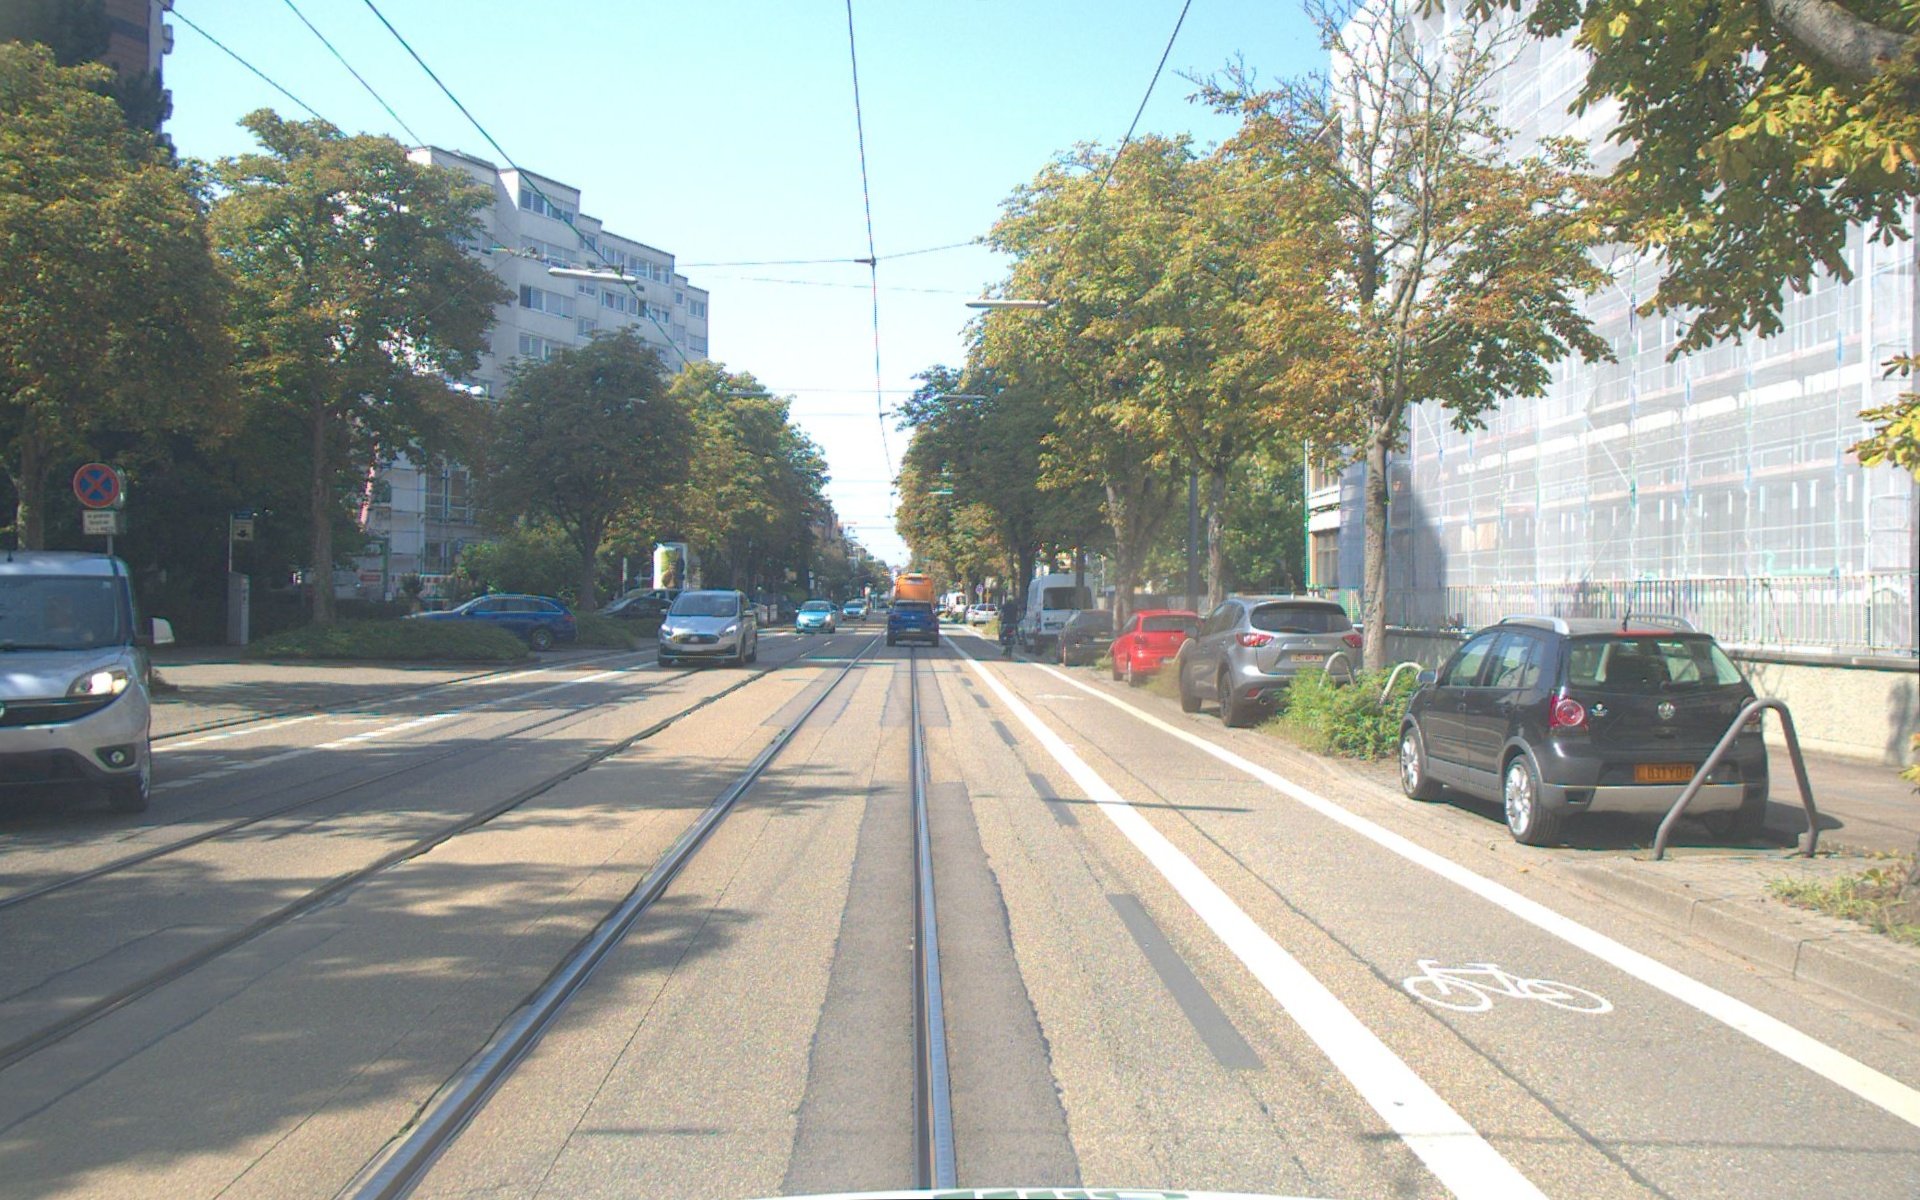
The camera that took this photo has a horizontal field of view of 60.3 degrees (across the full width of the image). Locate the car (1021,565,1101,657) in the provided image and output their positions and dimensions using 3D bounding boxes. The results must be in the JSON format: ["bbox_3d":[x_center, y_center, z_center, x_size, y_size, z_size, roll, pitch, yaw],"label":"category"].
[{"bbox_3d":[3.221,0.342,53.870,1.954,2.804,5.758,1,0,-3],"label":"car"}]

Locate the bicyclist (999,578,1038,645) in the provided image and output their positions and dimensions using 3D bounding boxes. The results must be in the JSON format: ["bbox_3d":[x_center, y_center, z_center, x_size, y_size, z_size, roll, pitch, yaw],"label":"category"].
[{"bbox_3d":[1.631,0.317,46.492,1.011,1.844,1.016,1,0,-2],"label":"bicyclist"}]

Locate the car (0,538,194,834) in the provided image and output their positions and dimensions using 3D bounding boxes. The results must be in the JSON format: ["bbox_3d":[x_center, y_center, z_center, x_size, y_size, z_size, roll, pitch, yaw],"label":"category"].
[{"bbox_3d":[-6.668,0.519,12.072,1.723,1.828,3.973,1,0,-22],"label":"car"}]

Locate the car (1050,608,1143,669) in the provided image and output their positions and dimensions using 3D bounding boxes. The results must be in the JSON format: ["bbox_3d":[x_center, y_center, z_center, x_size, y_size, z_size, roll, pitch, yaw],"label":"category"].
[{"bbox_3d":[3.516,0.961,43.282,1.870,1.456,4.290,1,0,-3],"label":"car"}]

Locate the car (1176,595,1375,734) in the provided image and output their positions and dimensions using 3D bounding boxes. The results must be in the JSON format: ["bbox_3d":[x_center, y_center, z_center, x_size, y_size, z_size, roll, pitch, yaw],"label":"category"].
[{"bbox_3d":[4.223,0.804,22.781,1.705,1.697,4.359,1,0,-3],"label":"car"}]

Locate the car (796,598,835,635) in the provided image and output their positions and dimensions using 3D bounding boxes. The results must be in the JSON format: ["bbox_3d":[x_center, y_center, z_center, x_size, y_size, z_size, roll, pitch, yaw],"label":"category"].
[{"bbox_3d":[-6.663,0.744,76.471,1.601,1.612,4.186,1,0,-3],"label":"car"}]

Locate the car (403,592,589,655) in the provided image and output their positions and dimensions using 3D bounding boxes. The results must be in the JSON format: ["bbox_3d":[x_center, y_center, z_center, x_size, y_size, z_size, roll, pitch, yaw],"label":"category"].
[{"bbox_3d":[-12.391,0.629,44.160,4.512,1.580,1.984,1,0,-26],"label":"car"}]

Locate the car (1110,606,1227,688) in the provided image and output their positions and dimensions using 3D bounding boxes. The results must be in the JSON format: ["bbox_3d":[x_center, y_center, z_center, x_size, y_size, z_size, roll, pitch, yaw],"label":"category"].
[{"bbox_3d":[4.115,0.900,33.161,1.705,1.488,3.682,1,0,-3],"label":"car"}]

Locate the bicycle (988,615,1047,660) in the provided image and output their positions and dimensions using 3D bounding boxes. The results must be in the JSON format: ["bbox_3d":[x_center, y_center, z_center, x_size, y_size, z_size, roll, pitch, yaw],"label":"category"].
[{"bbox_3d":[1.585,1.022,46.489,1.373,1.154,3.999,1,0,-2],"label":"bicycle"}]

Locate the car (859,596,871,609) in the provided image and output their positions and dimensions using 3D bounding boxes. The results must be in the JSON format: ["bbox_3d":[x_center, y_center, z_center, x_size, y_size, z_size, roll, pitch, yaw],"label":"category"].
[{"bbox_3d":[-13.532,0.343,236.114,1.712,1.828,3.998,1,0,-3],"label":"car"}]

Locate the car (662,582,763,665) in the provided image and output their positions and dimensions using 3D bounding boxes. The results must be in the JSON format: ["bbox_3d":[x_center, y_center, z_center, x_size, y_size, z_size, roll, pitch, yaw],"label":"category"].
[{"bbox_3d":[-5.457,0.492,36.916,1.744,1.713,4.345,1,0,-3],"label":"car"}]

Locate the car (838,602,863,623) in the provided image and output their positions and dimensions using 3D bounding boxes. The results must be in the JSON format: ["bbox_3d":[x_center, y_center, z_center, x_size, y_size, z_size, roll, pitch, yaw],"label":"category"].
[{"bbox_3d":[-8.561,0.953,130.033,1.861,1.589,4.120,1,0,-3],"label":"car"}]

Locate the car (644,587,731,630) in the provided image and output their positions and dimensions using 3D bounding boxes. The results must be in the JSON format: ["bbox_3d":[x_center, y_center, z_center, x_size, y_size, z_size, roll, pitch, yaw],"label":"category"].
[{"bbox_3d":[-13.609,0.445,82.612,1.826,2.049,3.971,1,0,45],"label":"car"}]

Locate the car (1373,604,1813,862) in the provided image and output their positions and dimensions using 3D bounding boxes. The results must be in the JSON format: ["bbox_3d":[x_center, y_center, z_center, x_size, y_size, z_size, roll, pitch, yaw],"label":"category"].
[{"bbox_3d":[4.588,0.859,12.696,1.601,1.612,4.186,1,0,-3],"label":"car"}]

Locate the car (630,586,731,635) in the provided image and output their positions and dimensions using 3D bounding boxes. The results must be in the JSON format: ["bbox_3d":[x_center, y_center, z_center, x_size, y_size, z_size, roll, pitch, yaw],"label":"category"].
[{"bbox_3d":[-12.141,0.481,71.987,1.826,2.049,3.971,1,0,45],"label":"car"}]

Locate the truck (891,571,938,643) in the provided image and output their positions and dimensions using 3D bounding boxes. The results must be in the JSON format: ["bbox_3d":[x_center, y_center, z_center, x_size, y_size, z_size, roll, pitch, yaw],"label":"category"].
[{"bbox_3d":[-2.085,0.328,76.184,2.092,3.179,6.083,0,0,-1],"label":"truck"}]

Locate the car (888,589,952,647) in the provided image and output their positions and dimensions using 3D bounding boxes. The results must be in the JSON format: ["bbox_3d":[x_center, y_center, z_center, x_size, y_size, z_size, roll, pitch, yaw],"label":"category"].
[{"bbox_3d":[-1.381,0.597,57.307,2.092,1.891,5.566,0,0,-2],"label":"car"}]
